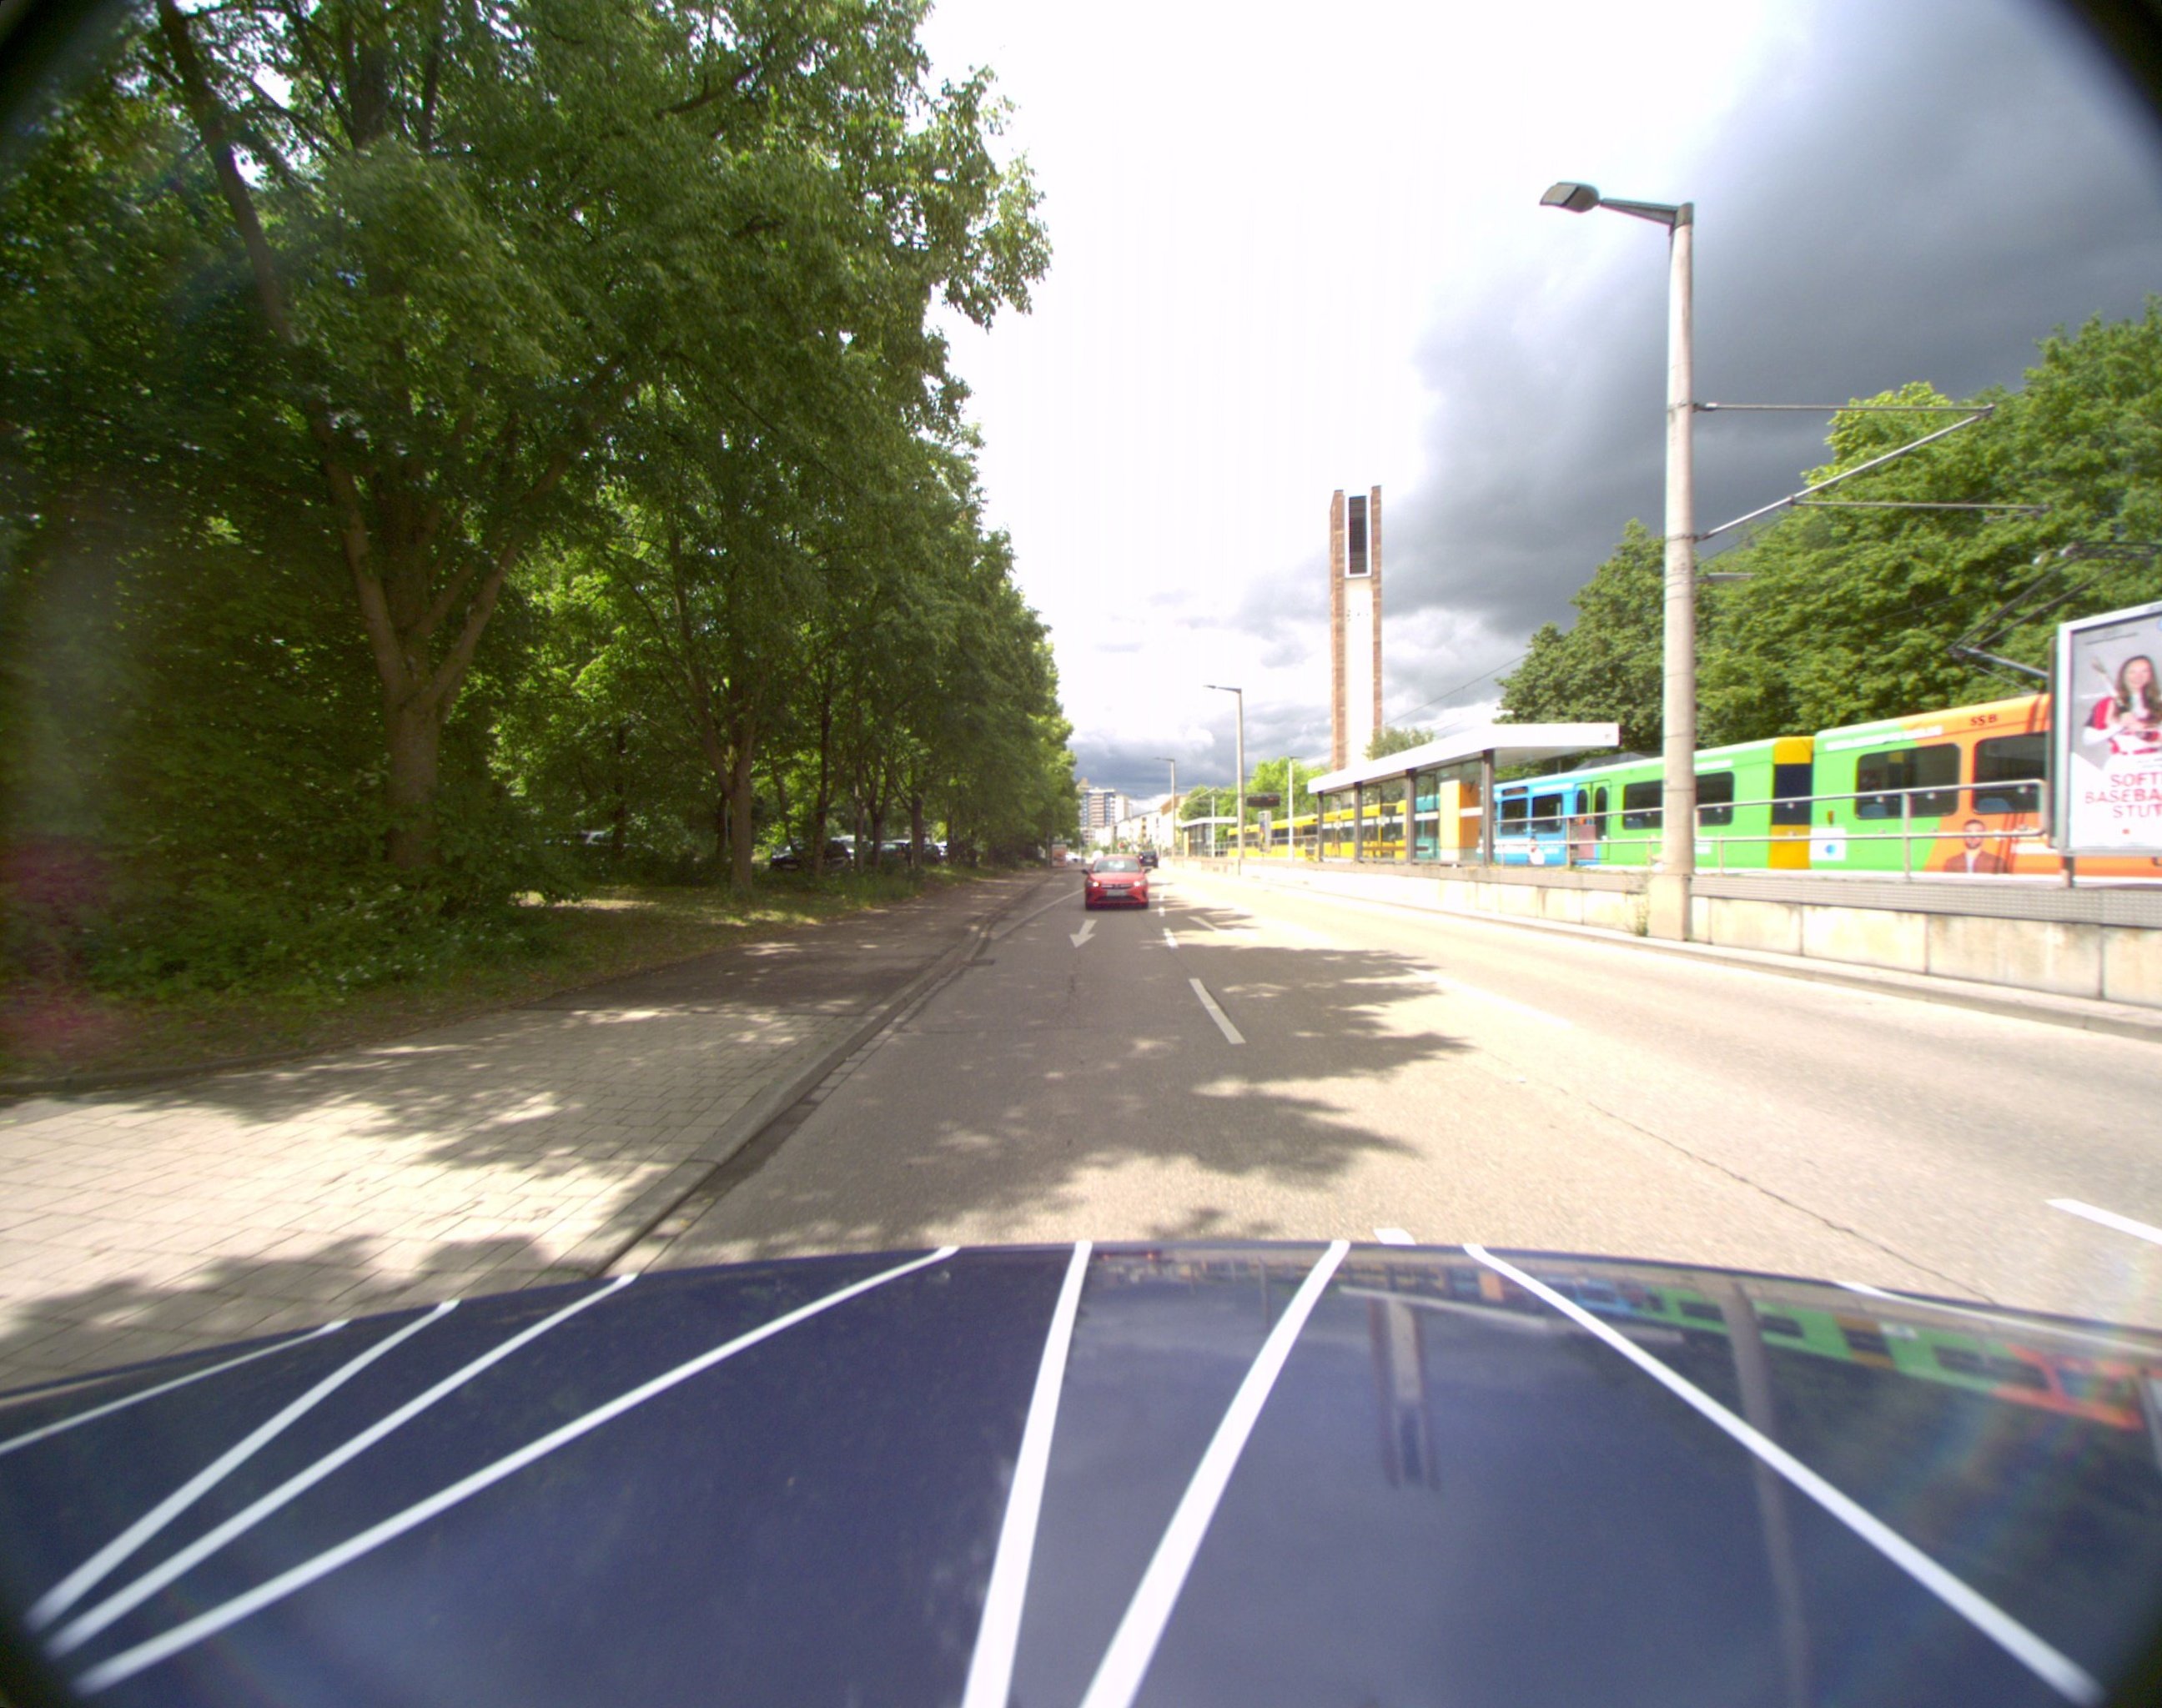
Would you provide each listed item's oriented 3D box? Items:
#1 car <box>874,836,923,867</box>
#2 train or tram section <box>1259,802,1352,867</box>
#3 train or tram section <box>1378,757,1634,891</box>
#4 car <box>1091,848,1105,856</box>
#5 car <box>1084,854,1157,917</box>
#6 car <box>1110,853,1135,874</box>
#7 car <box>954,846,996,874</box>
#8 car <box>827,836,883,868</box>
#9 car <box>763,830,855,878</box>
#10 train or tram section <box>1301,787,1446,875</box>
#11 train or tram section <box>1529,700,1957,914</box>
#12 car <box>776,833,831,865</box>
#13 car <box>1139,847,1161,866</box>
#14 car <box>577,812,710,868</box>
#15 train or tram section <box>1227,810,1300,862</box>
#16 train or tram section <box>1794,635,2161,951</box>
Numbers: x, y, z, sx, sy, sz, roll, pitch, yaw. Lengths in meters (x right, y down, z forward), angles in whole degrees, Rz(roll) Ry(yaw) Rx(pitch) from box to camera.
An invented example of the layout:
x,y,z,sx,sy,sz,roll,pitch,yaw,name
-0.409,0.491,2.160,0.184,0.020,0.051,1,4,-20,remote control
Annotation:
x,y,z,sx,sy,sz,roll,pitch,yaw,name
-9.484,-0.157,39.707,1.757,1.533,4.224,-2,1,-4,car
15.026,-1.287,51.985,2.988,3.840,11.105,-2,1,0,train or tram section
14.849,-0.964,28.309,2.988,3.840,11.784,-2,1,1,train or tram section
3.166,-0.320,142.571,1.822,1.433,4.005,-2,1,-9,car
1.059,0.772,20.844,1.756,1.433,4.226,-1,1,2,car
3.070,0.700,56.953,1.756,1.433,4.226,-1,1,2,car
-6.408,0.336,46.391,1.655,1.533,3.677,-1,1,6,car
-11.801,-0.126,39.885,1.656,1.533,3.676,1,1,2,car
-9.559,-0.028,27.004,1.756,1.533,3.676,-1,1,2,car
14.934,-1.127,40.278,2.988,3.840,12.199,-2,1,1,train or tram section
14.714,-0.916,18.233,2.988,3.840,8.377,-2,1,1,train or tram section
-14.284,-0.286,39.269,1.657,1.533,3.674,-2,1,-4,car
6.128,0.175,67.785,1.756,1.603,4.226,-1,1,2,car
-13.093,-0.417,23.009,1.655,1.533,3.627,-1,1,5,car
15.120,-1.453,64.154,2.988,3.840,13.148,-2,1,1,train or tram section
14.585,-0.731,4.751,2.988,3.840,18.535,-2,1,1,train or tram section
